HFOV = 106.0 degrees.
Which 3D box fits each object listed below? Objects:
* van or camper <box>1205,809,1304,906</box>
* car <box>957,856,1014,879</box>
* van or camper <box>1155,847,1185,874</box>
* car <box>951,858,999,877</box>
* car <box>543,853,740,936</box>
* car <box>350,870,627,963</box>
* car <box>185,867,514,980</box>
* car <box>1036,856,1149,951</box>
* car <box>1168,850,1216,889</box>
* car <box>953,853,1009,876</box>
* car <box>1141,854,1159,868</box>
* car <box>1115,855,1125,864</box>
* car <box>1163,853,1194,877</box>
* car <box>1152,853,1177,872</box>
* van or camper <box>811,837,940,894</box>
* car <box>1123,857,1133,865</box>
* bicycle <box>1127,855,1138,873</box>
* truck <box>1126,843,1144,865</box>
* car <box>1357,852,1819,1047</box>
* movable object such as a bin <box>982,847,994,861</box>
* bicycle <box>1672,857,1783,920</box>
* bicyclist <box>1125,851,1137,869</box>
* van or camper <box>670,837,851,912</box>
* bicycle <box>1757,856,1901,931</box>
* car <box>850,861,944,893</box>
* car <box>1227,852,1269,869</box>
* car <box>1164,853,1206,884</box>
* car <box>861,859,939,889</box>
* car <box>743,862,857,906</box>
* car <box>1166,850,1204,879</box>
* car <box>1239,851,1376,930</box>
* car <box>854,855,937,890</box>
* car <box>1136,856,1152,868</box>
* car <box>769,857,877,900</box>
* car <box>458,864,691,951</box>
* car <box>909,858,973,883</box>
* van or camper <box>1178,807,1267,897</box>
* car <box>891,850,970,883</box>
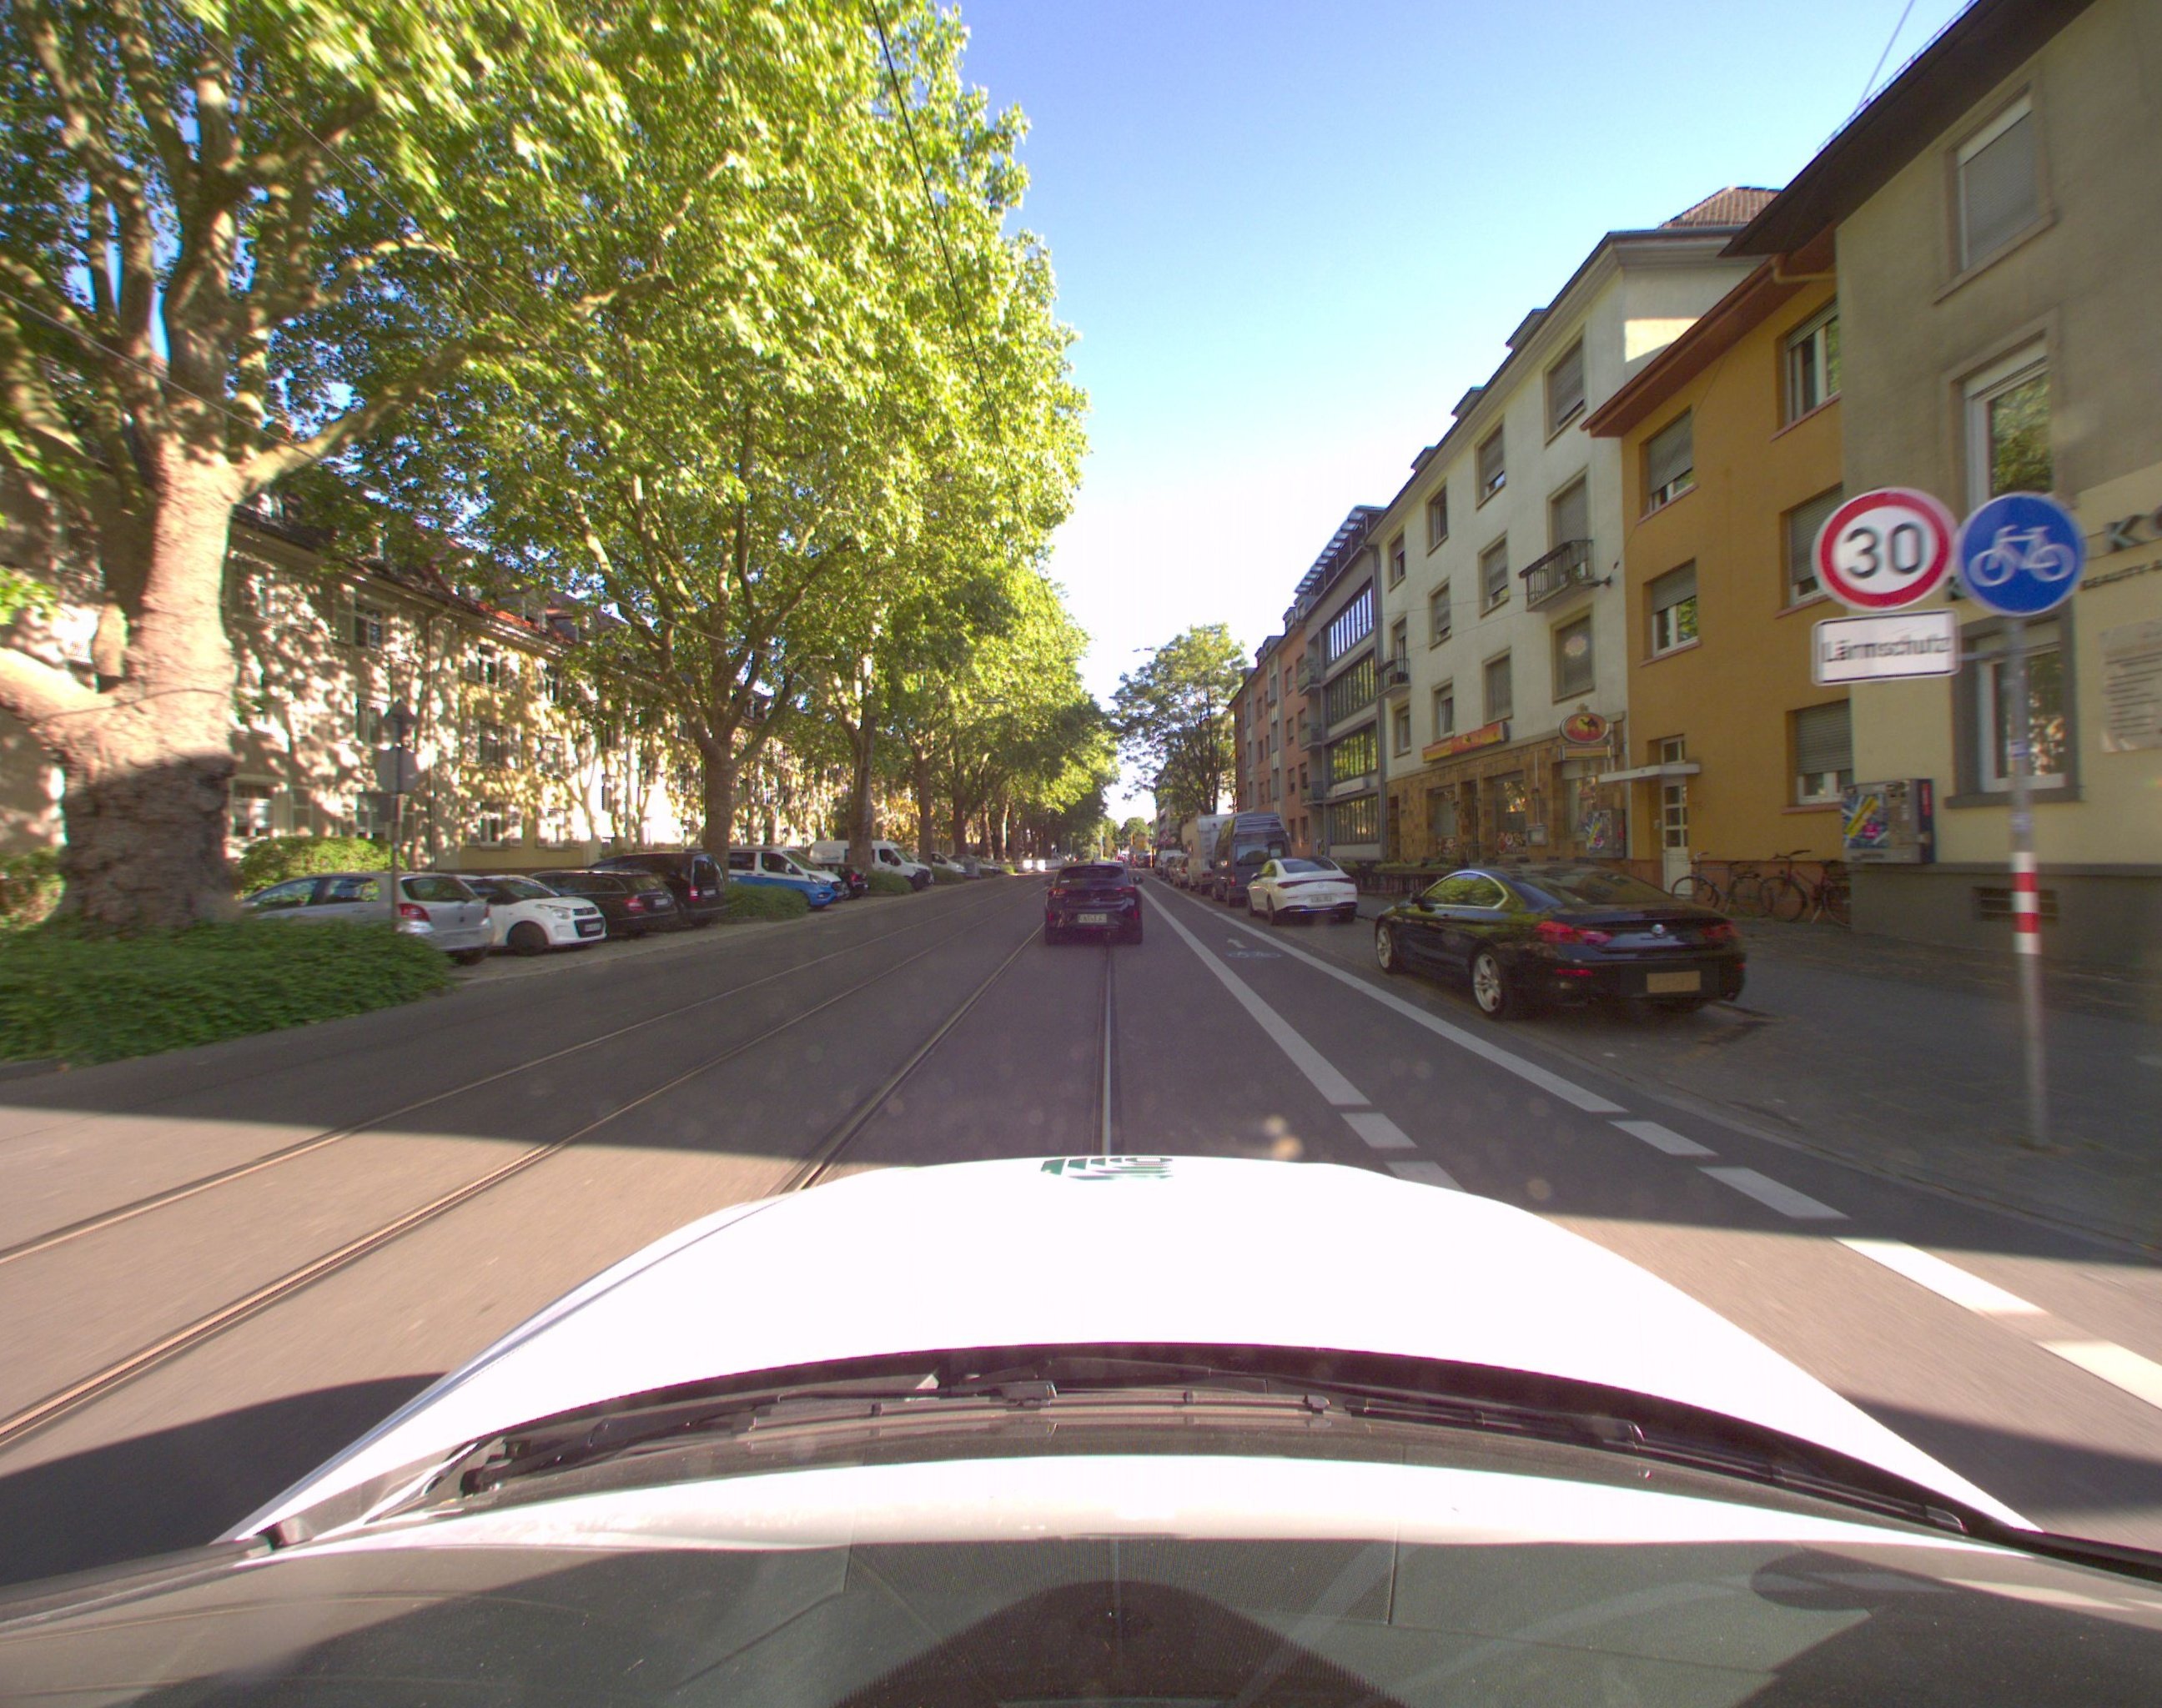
[{"bbox_3d":[5.404,0.104,26.088,2.124,2.663,4.981,-3,0,2],"label":"van or camper"},{"bbox_3d":[-7.827,1.102,67.017,4.210,1.688,1.938,-2,0,8],"label":"car"},{"bbox_3d":[6.504,0.462,59.933,1.748,1.864,4.832,-2,0,2],"label":"van or camper"},{"bbox_3d":[-9.232,1.160,71.241,3.832,1.498,1.863,-2,0,2],"label":"car"},{"bbox_3d":[-10.241,0.909,19.162,3.669,1.815,1.705,-1,0,1],"label":"car"},{"bbox_3d":[-10.602,1.074,14.806,3.676,1.485,1.699,-1,0,-5],"label":"car"},{"bbox_3d":[-10.983,1.008,12.368,3.662,1.554,1.707,-1,0,7],"label":"car"},{"bbox_3d":[0.247,0.795,15.049,1.775,1.496,4.001,-1,0,2],"label":"car"},{"bbox_3d":[5.240,0.703,38.940,1.786,1.628,4.278,-3,0,2],"label":"car"},{"bbox_3d":[-7.944,0.848,64.841,4.181,1.757,1.741,-1,0,3],"label":"car"},{"bbox_3d":[7.580,0.733,89.690,1.727,1.462,3.918,-3,0,2],"label":"car"},{"bbox_3d":[8.547,1.214,176.704,1.986,1.695,4.741,-3,0,2],"label":"car"},{"bbox_3d":[6.454,0.685,54.355,1.699,1.473,4.170,-2,0,2],"label":"car"},{"bbox_3d":[6.793,0.649,66.217,1.699,1.473,4.002,-2,0,2],"label":"car"},{"bbox_3d":[-9.678,0.531,38.629,5.366,2.516,2.447,-1,0,3],"label":"van or camper"},{"bbox_3d":[10.636,1.673,185.434,1.986,1.695,4.741,-3,0,2],"label":"car"},{"bbox_3d":[4.768,0.904,76.013,0.912,1.561,3.407,-1,0,3],"label":"bicycle"},{"bbox_3d":[8.641,-0.007,131.509,2.528,3.338,7.199,-4,-1,3],"label":"truck"},{"bbox_3d":[4.701,0.739,8.637,1.986,1.380,4.741,-4,0,2],"label":"car"},{"bbox_3d":[-12.938,-0.030,112.889,1.328,1.869,2.008,-1,-1,2],"label":"movable object such as a bin"},{"bbox_3d":[10.869,0.548,13.773,0.424,0.997,1.859,-1,0,2],"label":"bicycle"},{"bbox_3d":[4.680,0.534,76.197,1.085,1.647,1.401,-1,0,2],"label":"bicyclist"},{"bbox_3d":[-9.950,0.614,25.593,4.807,2.190,2.118,-1,0,-2],"label":"van or camper"},{"bbox_3d":[10.806,0.528,11.859,0.424,0.997,1.859,-1,0,2],"label":"bicycle"},{"bbox_3d":[-9.175,1.126,40.835,4.247,1.399,1.754,-2,0,2],"label":"car"},{"bbox_3d":[16.667,0.643,81.273,3.900,1.482,1.562,-1,2,0],"label":"car"},{"bbox_3d":[5.564,0.758,44.067,1.781,1.522,4.324,-3,0,2],"label":"car"},{"bbox_3d":[-10.050,1.119,45.354,3.832,1.498,1.863,-2,0,2],"label":"car"},{"bbox_3d":[-10.106,1.068,29.498,3.524,1.459,1.694,-1,0,-5],"label":"car"},{"bbox_3d":[6.233,0.628,49.278,1.761,1.572,4.338,-3,0,2],"label":"car"},{"bbox_3d":[5.099,0.756,19.037,1.986,1.493,4.742,-4,0,2],"label":"car"},{"bbox_3d":[-9.758,0.955,43.023,3.832,1.663,1.863,-2,0,2],"label":"car"},{"bbox_3d":[7.944,1.016,103.269,1.653,1.399,4.741,-3,0,2],"label":"car"},{"bbox_3d":[-10.088,0.947,31.960,3.665,1.565,1.615,-1,0,4],"label":"car"},{"bbox_3d":[-10.396,1.051,16.947,3.674,1.624,1.797,-1,0,-4],"label":"car"},{"bbox_3d":[-9.310,1.091,54.468,3.832,1.498,1.863,-2,0,2],"label":"car"},{"bbox_3d":[5.426,-0.059,32.326,2.453,3.064,6.270,-3,0,2],"label":"van or camper"},{"bbox_3d":[-9.466,0.765,51.529,4.649,1.945,1.958,-1,0,-5],"label":"car"}]
